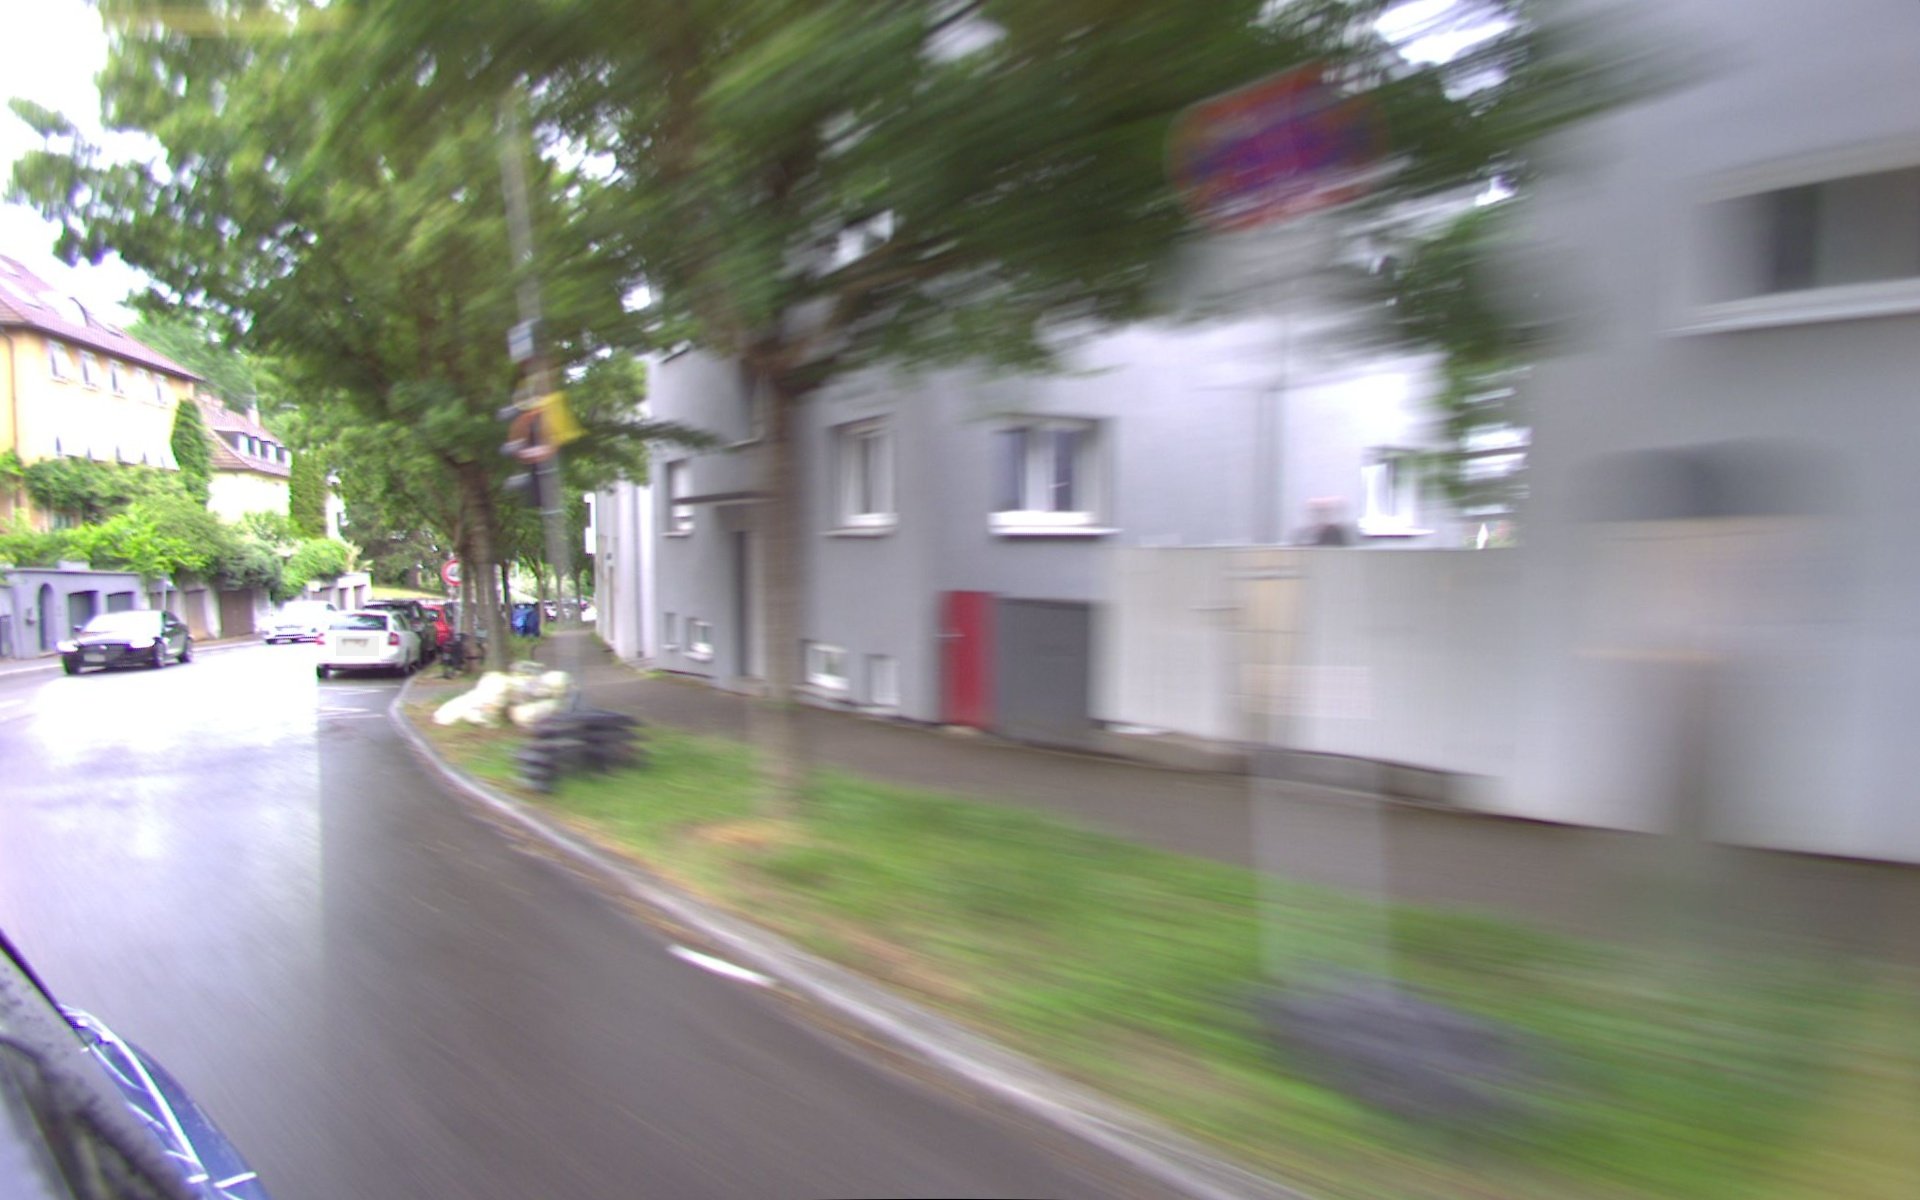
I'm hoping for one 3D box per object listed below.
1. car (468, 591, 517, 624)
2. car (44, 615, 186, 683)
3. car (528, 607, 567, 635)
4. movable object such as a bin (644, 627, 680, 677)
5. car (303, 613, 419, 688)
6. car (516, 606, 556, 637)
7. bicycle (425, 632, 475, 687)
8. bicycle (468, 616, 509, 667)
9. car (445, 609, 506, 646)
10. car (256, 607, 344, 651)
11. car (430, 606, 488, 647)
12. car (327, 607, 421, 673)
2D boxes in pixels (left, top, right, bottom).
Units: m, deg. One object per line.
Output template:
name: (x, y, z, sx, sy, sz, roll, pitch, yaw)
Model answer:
car: (-23.280, 0.391, 50.486, 1.553, 1.500, 3.479, 3, -1, -15)
car: (-20.451, 1.163, 24.688, 1.777, 1.500, 4.030, 0, -2, -27)
car: (-27.130, 1.367, 66.638, 1.571, 1.671, 3.933, 4, -1, -12)
movable object such as a bin: (-5.997, 1.038, 20.415, 0.647, 0.958, 0.645, -1, 0, -13)
car: (-13.449, 1.057, 22.936, 1.658, 1.520, 4.330, 1, -1, -23)
car: (-25.609, 1.293, 61.221, 1.596, 1.671, 3.934, 3, 0, -14)
bicycle: (-10.507, 1.201, 20.896, 0.429, 1.037, 1.910, -1, 0, -12)
bicycle: (-12.448, 1.081, 26.735, 0.610, 1.261, 1.910, -1, 0, -14)
car: (-22.000, 1.211, 46.093, 1.641, 1.500, 4.488, 3, 0, -15)
car: (-26.571, 1.131, 40.912, 1.979, 1.674, 4.459, 1, 0, -19)
car: (-20.357, 1.048, 41.232, 1.534, 1.522, 3.394, 3, -1, -17)
car: (-15.700, 1.026, 27.311, 1.658, 1.621, 4.592, 0, -1, -23)
